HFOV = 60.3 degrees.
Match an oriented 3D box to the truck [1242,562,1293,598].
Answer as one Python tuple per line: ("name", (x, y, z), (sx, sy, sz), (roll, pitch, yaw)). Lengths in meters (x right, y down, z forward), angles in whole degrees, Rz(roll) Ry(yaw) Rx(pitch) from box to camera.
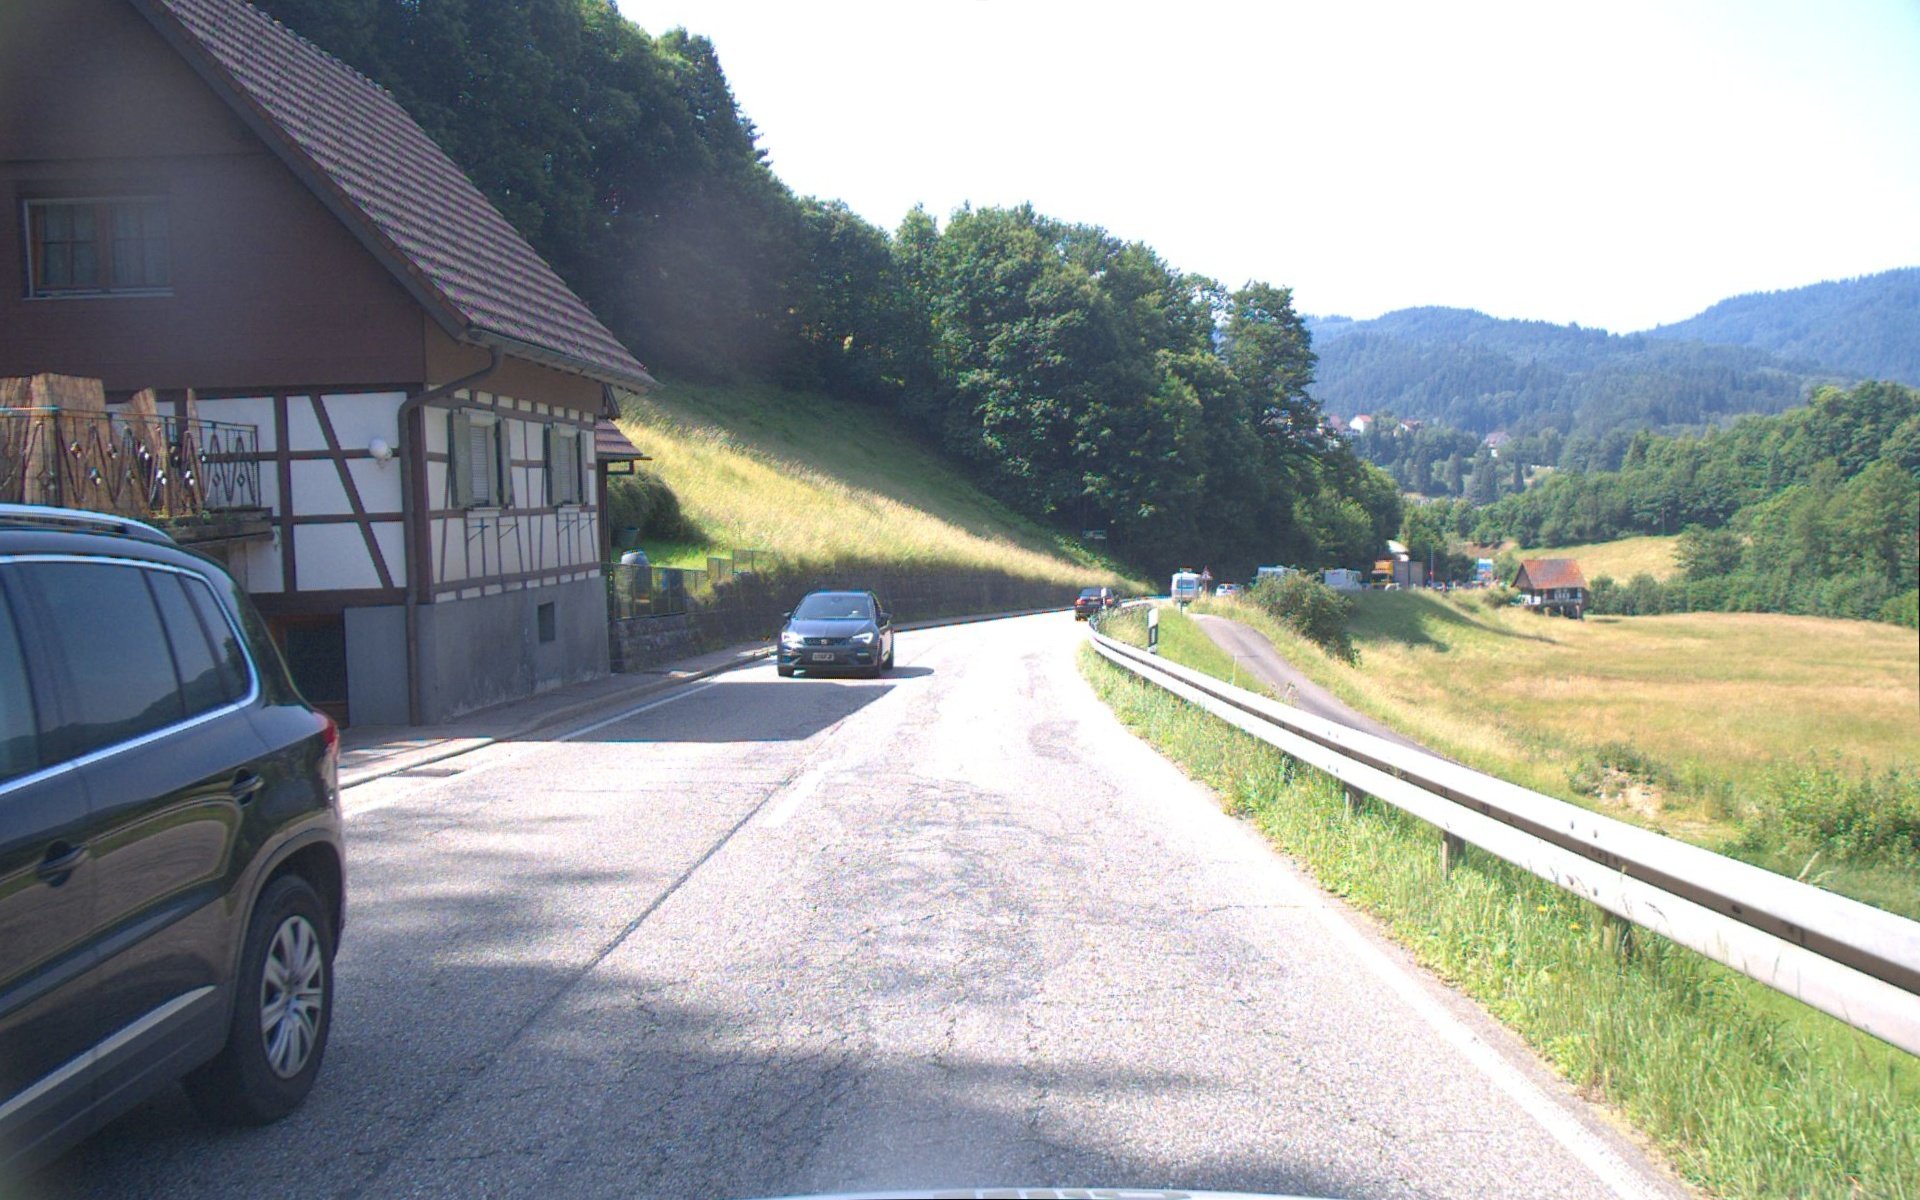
("truck", (27.399, -1.811, 147.101), (2.736, 3.049, 6.865), (4, 3, 24))

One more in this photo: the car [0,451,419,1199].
("car", (-2.686, 0.562, 3.299), (1.850, 1.673, 4.257), (0, 1, -1))

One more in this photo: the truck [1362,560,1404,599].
("truck", (50.500, -2.478, 197.244), (3.130, 4.472, 6.559), (3, 2, 30))

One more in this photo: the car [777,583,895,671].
("car", (-2.134, 0.427, 29.460), (1.728, 1.420, 4.146), (0, 1, 1))

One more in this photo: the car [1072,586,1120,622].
("car", (5.729, 0.151, 69.597), (1.733, 1.358, 3.771), (1, 2, 9))

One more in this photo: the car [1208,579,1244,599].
("car", (21.453, -0.885, 133.161), (1.953, 1.509, 4.000), (3, 2, 21))

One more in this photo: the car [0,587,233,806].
("car", (-7.669, 0.646, 12.231), (3.736, 1.458, 1.864), (0, 1, 3))

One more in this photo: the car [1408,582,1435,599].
("car", (54.508, -1.110, 195.253), (1.958, 1.959, 3.991), (3, 2, 31))

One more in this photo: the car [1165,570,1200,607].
("car", (15.583, -0.839, 115.514), (1.951, 2.393, 4.919), (1, 2, 13))

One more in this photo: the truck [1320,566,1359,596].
("truck", (38.294, -1.897, 166.727), (2.195, 2.852, 6.223), (2, 0, 28))
